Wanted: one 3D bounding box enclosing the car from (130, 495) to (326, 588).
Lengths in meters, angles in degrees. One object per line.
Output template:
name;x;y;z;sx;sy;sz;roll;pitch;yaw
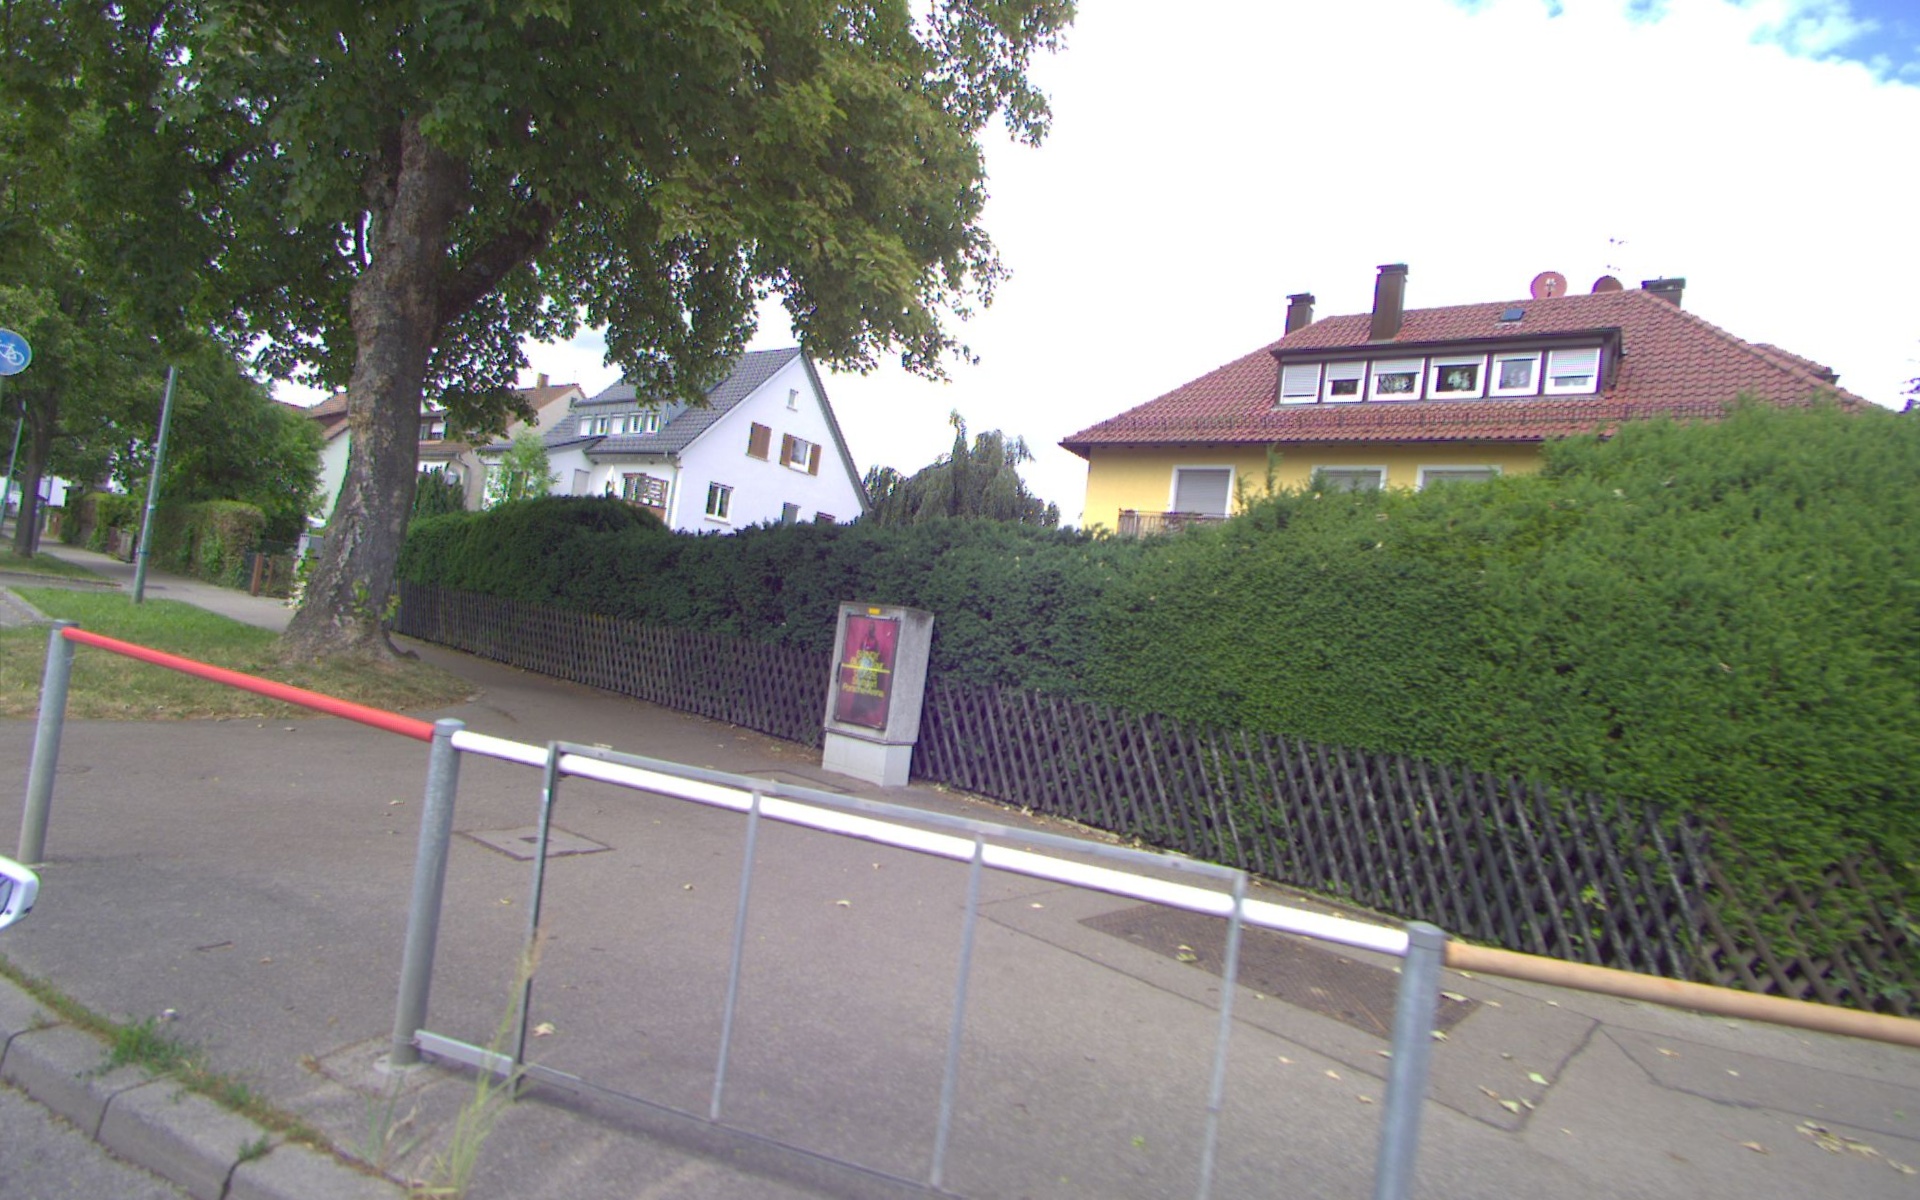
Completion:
car;-28.723;-2.229;39.713;1.967;2.621;5.717;8;-2;37
